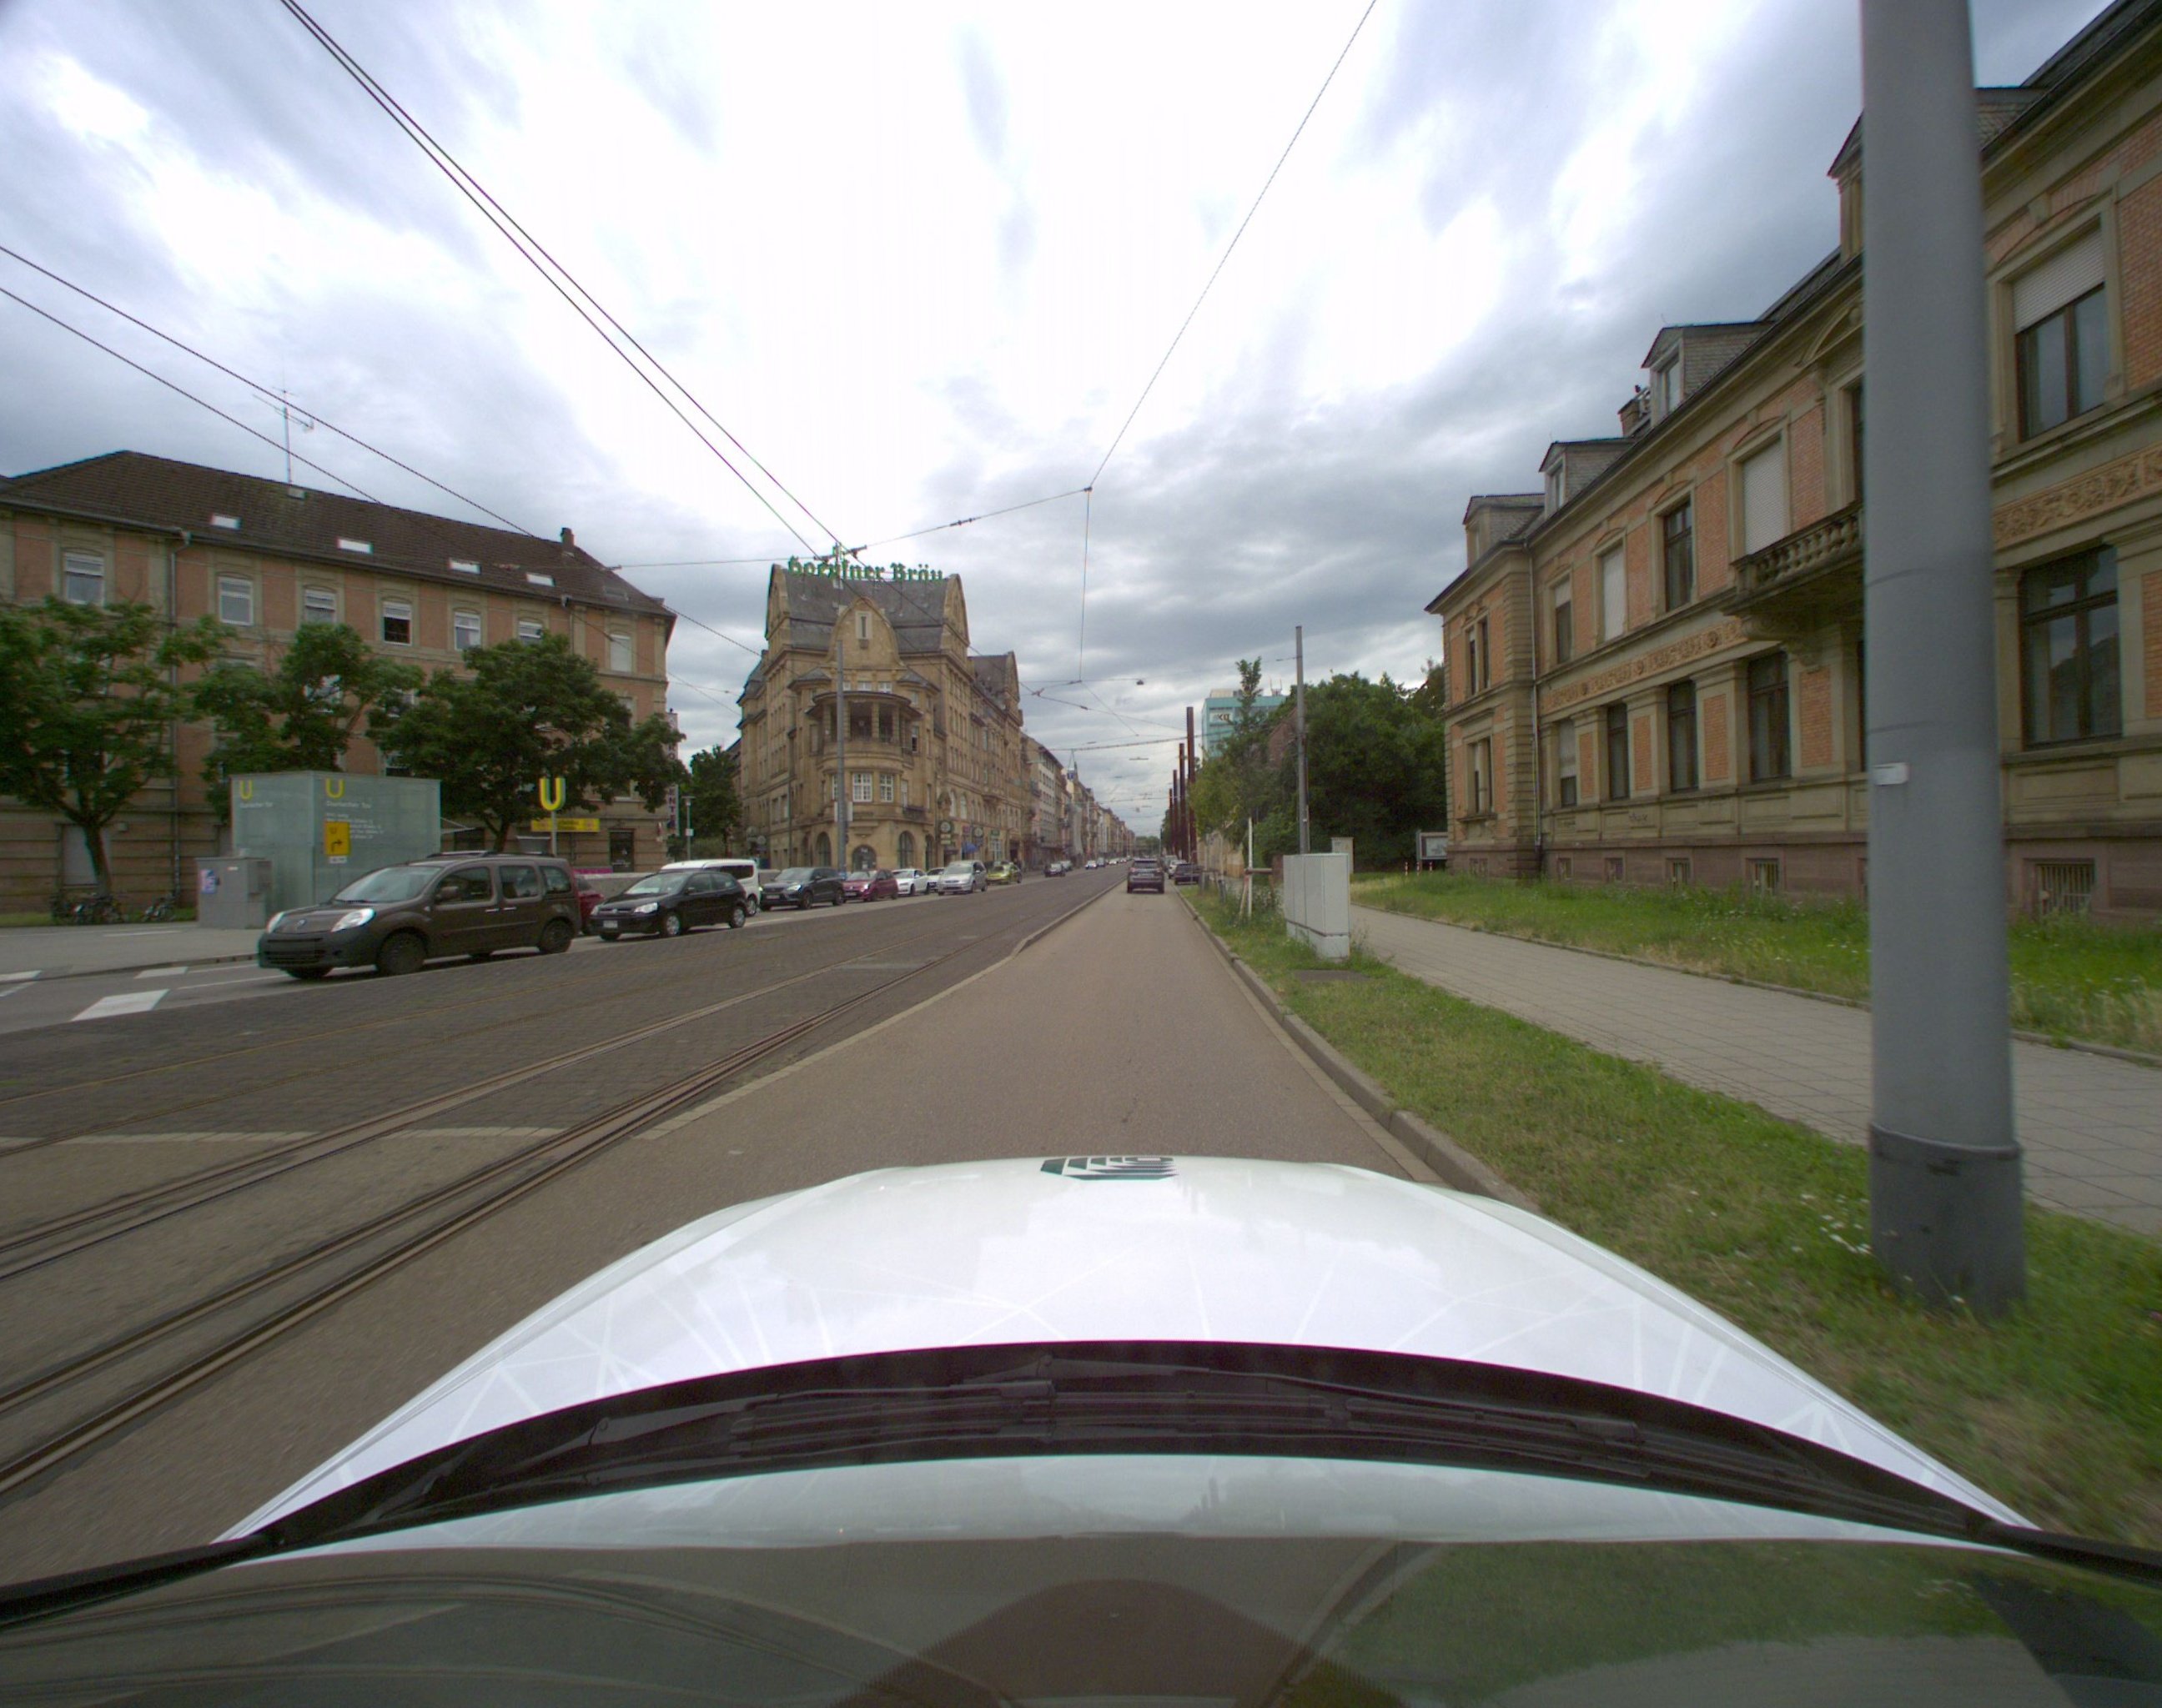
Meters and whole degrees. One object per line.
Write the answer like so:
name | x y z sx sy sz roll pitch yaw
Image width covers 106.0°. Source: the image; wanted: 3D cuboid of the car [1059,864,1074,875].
car | -2.207 2.327 122.305 1.767 1.504 4.407 -1 -1 5

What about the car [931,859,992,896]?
car | -6.059 1.151 41.888 1.853 1.706 4.917 -2 -1 6

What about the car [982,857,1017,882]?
car | -6.793 1.269 68.492 1.890 1.977 5.103 -3 -1 4

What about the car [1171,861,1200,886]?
car | 6.699 1.229 52.458 1.630 1.433 3.935 -3 -1 4

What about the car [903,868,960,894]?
car | -8.535 1.509 46.785 1.916 1.380 4.267 -1 0 8

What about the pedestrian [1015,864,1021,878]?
pedestrian | -7.187 1.934 92.462 0.565 1.598 0.719 -1 -1 4

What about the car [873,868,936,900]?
car | -8.967 1.490 41.710 1.738 1.380 4.369 -4 -1 6

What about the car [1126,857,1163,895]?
car | 3.178 1.041 40.540 1.741 1.756 3.929 1 0 5

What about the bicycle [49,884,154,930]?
bicycle | -30.916 1.631 25.793 0.963 1.354 3.093 0 -2 -27

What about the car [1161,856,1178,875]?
car | 10.971 1.396 100.689 1.843 2.115 4.991 -4 -1 5

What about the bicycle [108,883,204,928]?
bicycle | -29.942 1.634 26.443 0.963 1.354 3.093 0 -2 -27

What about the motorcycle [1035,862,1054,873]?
motorcycle | -4.629 1.690 103.549 2.352 1.303 0.874 -1 -1 -32

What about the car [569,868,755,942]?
car | -9.276 1.072 18.458 1.679 1.442 4.010 -1 -1 9

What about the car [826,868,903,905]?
car | -9.567 1.400 36.285 1.852 1.399 3.904 -3 -1 8

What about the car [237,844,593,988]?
car | -10.218 0.860 13.041 1.679 1.900 4.397 -1 -1 9

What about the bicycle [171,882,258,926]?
bicycle | -28.854 1.638 27.191 0.963 1.354 3.093 0 -2 -27

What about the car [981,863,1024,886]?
car | -5.707 1.468 59.681 1.887 1.511 4.441 -3 -1 10

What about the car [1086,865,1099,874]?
car | 1.978 2.584 134.380 1.751 1.449 4.621 -1 -1 5

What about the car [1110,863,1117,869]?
car | 8.024 2.940 200.960 1.679 1.420 4.140 -1 -1 5

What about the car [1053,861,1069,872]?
car | -2.830 1.790 115.713 1.767 1.504 4.407 -1 -1 5

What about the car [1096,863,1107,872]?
car | 3.983 2.599 154.636 1.751 1.671 4.621 -1 -1 5

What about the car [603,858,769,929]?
car | -11.682 1.088 24.601 1.852 1.916 5.114 -1 -1 10

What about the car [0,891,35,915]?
car | -72.832 3.284 54.668 1.865 1.508 3.960 0 -2 -31

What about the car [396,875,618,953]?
car | -12.414 1.239 17.972 1.679 1.442 4.010 -1 -1 9

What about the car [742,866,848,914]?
car | -10.622 1.296 30.612 1.852 1.534 4.314 -3 -1 10

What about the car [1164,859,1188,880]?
car | 8.055 1.302 69.220 1.747 1.574 3.935 -3 -1 4

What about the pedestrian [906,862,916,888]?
pedestrian | -11.284 1.377 54.050 0.630 1.719 0.531 -1 -1 -10
